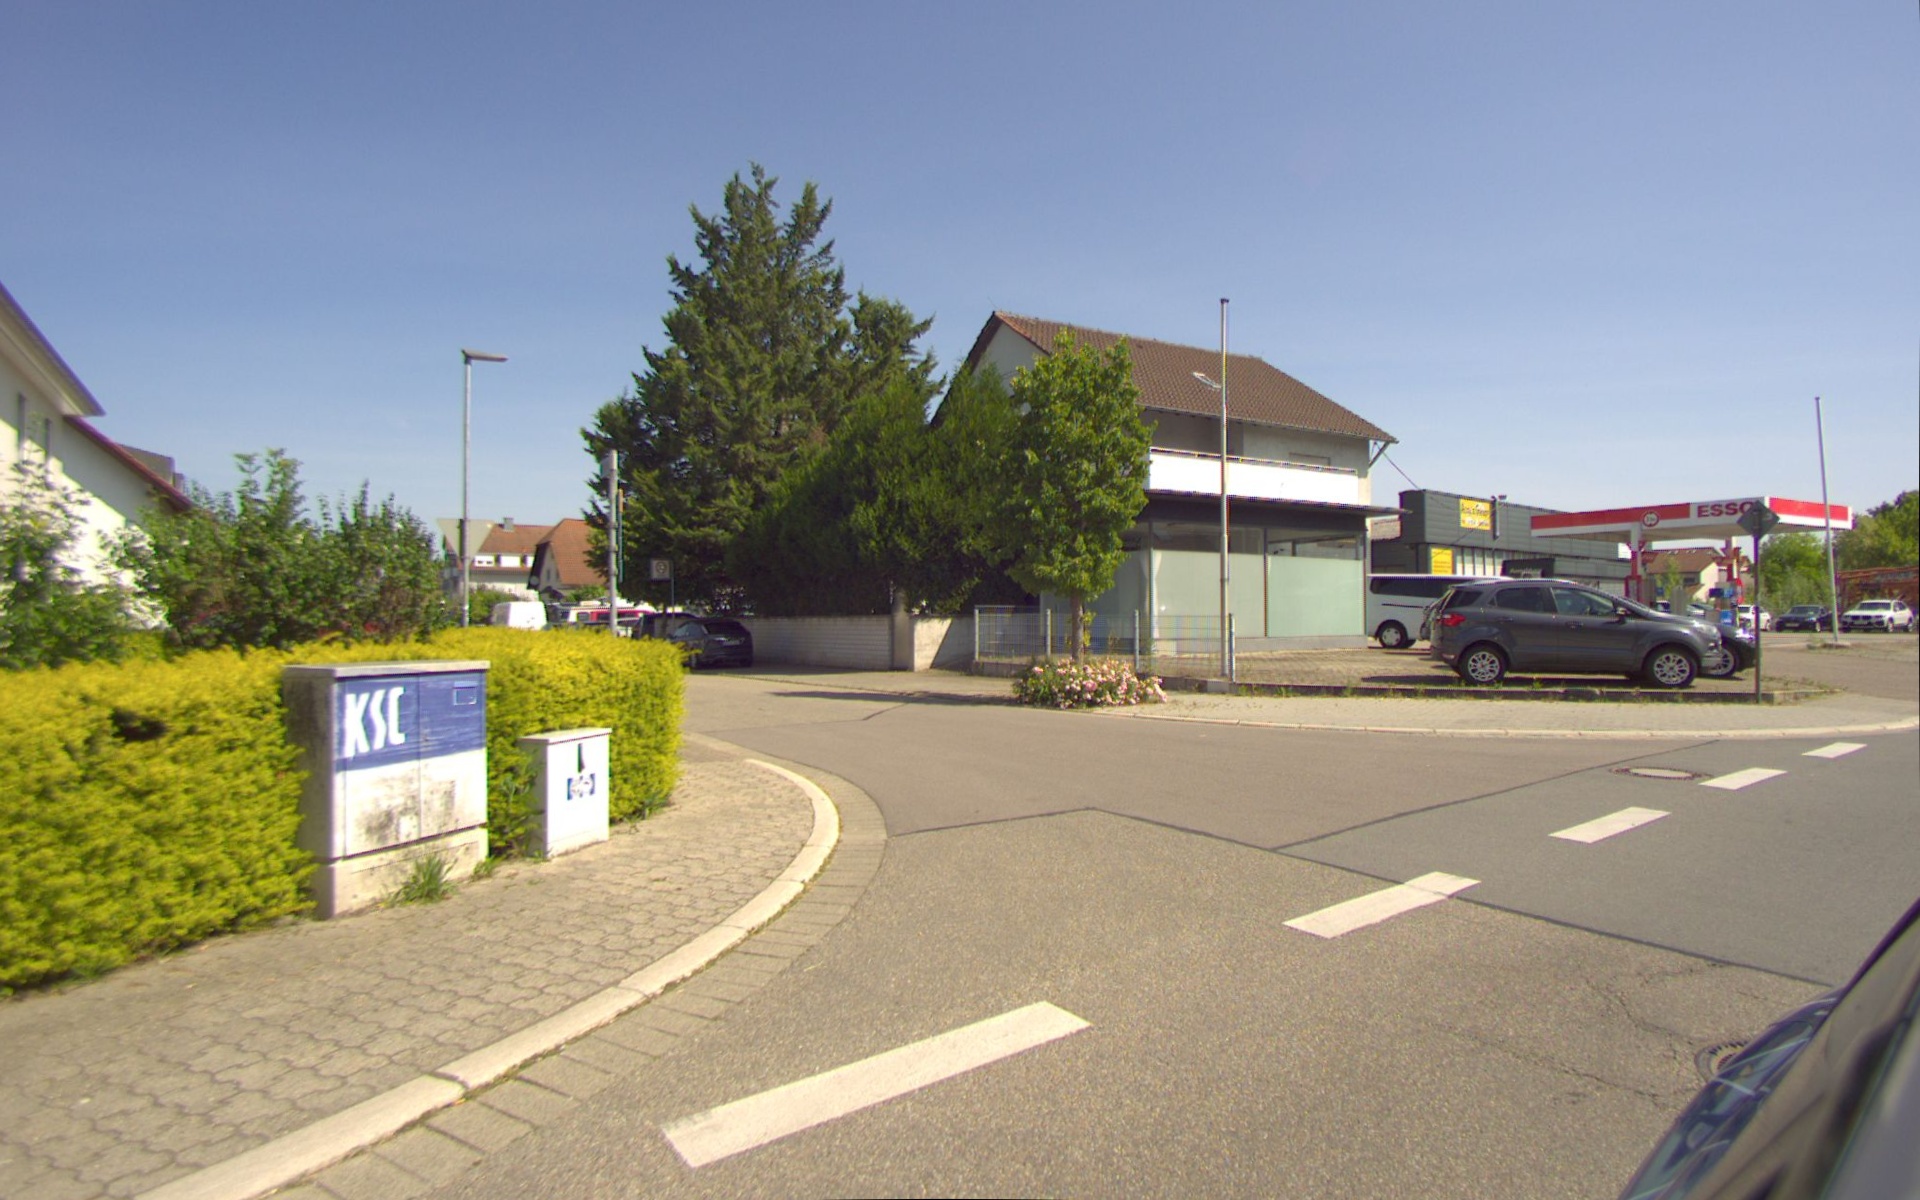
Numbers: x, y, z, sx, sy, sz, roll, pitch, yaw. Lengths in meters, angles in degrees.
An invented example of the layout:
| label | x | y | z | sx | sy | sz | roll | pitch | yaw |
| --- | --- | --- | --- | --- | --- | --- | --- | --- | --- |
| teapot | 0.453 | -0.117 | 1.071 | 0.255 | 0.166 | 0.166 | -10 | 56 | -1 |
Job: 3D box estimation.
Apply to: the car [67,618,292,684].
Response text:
| label | x | y | z | sx | sy | sz | roll | pitch | yaw |
| --- | --- | --- | --- | --- | --- | --- | --- | --- | --- |
| car | -19.279 | 1.244 | 25.253 | 4.304 | 1.448 | 1.697 | -1 | -3 | -35 |

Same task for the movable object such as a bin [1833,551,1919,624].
| label | x | y | z | sx | sy | sz | roll | pitch | yaw |
| --- | --- | --- | --- | --- | --- | --- | --- | --- | --- |
| movable object such as a bin | 56.745 | -0.703 | 53.442 | 2.718 | 4.069 | 16.119 | 0 | 0 | -30 |

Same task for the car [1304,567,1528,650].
| label | x | y | z | sx | sy | sz | roll | pitch | yaw |
| --- | --- | --- | --- | --- | --- | --- | --- | --- | --- |
| car | 12.249 | 0.189 | 27.337 | 5.250 | 2.039 | 2.204 | 0 | 0 | 35 |

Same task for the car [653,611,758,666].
| label | x | y | z | sx | sy | sz | roll | pitch | yaw |
| --- | --- | --- | --- | --- | --- | --- | --- | --- | --- |
| car | -7.624 | 1.161 | 30.119 | 1.609 | 1.499 | 3.900 | 0 | -3 | -37 |

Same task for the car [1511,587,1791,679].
| label | x | y | z | sx | sy | sz | roll | pitch | yaw |
| --- | --- | --- | --- | --- | --- | --- | --- | --- | --- |
| car | 11.938 | 0.518 | 17.817 | 3.835 | 1.465 | 1.735 | 0 | 0 | 27 |

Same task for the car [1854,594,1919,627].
| label | x | y | z | sx | sy | sz | roll | pitch | yaw |
| --- | --- | --- | --- | --- | --- | --- | --- | --- | --- |
| car | 46.751 | 0.495 | 50.774 | 4.257 | 1.612 | 2.004 | 0 | 0 | -36 |

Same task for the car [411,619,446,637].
| label | x | y | z | sx | sy | sz | roll | pitch | yaw |
| --- | --- | --- | --- | --- | --- | --- | --- | --- | --- |
| car | -40.954 | 2.145 | 77.900 | 1.640 | 1.216 | 3.810 | 0 | 0 | -40 |

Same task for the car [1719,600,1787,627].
| label | x | y | z | sx | sy | sz | roll | pitch | yaw |
| --- | --- | --- | --- | --- | --- | --- | --- | --- | --- |
| car | 43.623 | 0.720 | 55.629 | 4.294 | 1.404 | 1.846 | 0 | 0 | -36 |

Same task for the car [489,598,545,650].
| label | x | y | z | sx | sy | sz | roll | pitch | yaw |
| --- | --- | --- | --- | --- | --- | --- | --- | --- | --- |
| car | -23.120 | 1.217 | 52.763 | 1.812 | 2.569 | 3.901 | 0 | -1 | -37 |

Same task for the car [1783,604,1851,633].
| label | x | y | z | sx | sy | sz | roll | pitch | yaw |
| --- | --- | --- | --- | --- | --- | --- | --- | --- | --- |
| car | 44.523 | 0.951 | 52.554 | 3.925 | 1.404 | 1.846 | 0 | 0 | -36 |

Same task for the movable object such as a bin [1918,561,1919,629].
| label | x | y | z | sx | sy | sz | roll | pitch | yaw |
| --- | --- | --- | --- | --- | --- | --- | --- | --- | --- |
| movable object such as a bin | 64.056 | -0.335 | 57.827 | 2.806 | 4.218 | 13.309 | 0 | 0 | -30 |

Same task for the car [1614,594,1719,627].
| label | x | y | z | sx | sy | sz | roll | pitch | yaw |
| --- | --- | --- | --- | --- | --- | --- | --- | --- | --- |
| car | 36.866 | 0.525 | 52.881 | 1.777 | 1.655 | 4.155 | 0 | 0 | -33 |

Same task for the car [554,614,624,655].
| label | x | y | z | sx | sy | sz | roll | pitch | yaw |
| --- | --- | --- | --- | --- | --- | --- | --- | --- | --- |
| car | -15.273 | 1.436 | 41.510 | 1.609 | 1.558 | 3.900 | 0 | -3 | -37 |

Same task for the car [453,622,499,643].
| label | x | y | z | sx | sy | sz | roll | pitch | yaw |
| --- | --- | --- | --- | --- | --- | --- | --- | --- | --- |
| car | -29.878 | 1.989 | 62.383 | 1.812 | 1.138 | 3.900 | 0 | -3 | -37 |

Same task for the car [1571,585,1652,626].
| label | x | y | z | sx | sy | sz | roll | pitch | yaw |
| --- | --- | --- | --- | --- | --- | --- | --- | --- | --- |
| car | 29.994 | 0.280 | 46.533 | 4.732 | 1.764 | 1.807 | 2 | -2 | -40 |

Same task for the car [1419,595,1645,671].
| label | x | y | z | sx | sy | sz | roll | pitch | yaw |
| --- | --- | --- | --- | --- | --- | --- | --- | --- | --- |
| car | 12.792 | 0.690 | 22.973 | 4.270 | 1.570 | 1.968 | 0 | 0 | 25 |

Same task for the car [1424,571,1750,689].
| label | x | y | z | sx | sy | sz | roll | pitch | yaw |
| --- | --- | --- | --- | --- | --- | --- | --- | --- | --- |
| car | 9.619 | 0.414 | 15.938 | 4.063 | 1.674 | 1.819 | 0 | 0 | 21 |
